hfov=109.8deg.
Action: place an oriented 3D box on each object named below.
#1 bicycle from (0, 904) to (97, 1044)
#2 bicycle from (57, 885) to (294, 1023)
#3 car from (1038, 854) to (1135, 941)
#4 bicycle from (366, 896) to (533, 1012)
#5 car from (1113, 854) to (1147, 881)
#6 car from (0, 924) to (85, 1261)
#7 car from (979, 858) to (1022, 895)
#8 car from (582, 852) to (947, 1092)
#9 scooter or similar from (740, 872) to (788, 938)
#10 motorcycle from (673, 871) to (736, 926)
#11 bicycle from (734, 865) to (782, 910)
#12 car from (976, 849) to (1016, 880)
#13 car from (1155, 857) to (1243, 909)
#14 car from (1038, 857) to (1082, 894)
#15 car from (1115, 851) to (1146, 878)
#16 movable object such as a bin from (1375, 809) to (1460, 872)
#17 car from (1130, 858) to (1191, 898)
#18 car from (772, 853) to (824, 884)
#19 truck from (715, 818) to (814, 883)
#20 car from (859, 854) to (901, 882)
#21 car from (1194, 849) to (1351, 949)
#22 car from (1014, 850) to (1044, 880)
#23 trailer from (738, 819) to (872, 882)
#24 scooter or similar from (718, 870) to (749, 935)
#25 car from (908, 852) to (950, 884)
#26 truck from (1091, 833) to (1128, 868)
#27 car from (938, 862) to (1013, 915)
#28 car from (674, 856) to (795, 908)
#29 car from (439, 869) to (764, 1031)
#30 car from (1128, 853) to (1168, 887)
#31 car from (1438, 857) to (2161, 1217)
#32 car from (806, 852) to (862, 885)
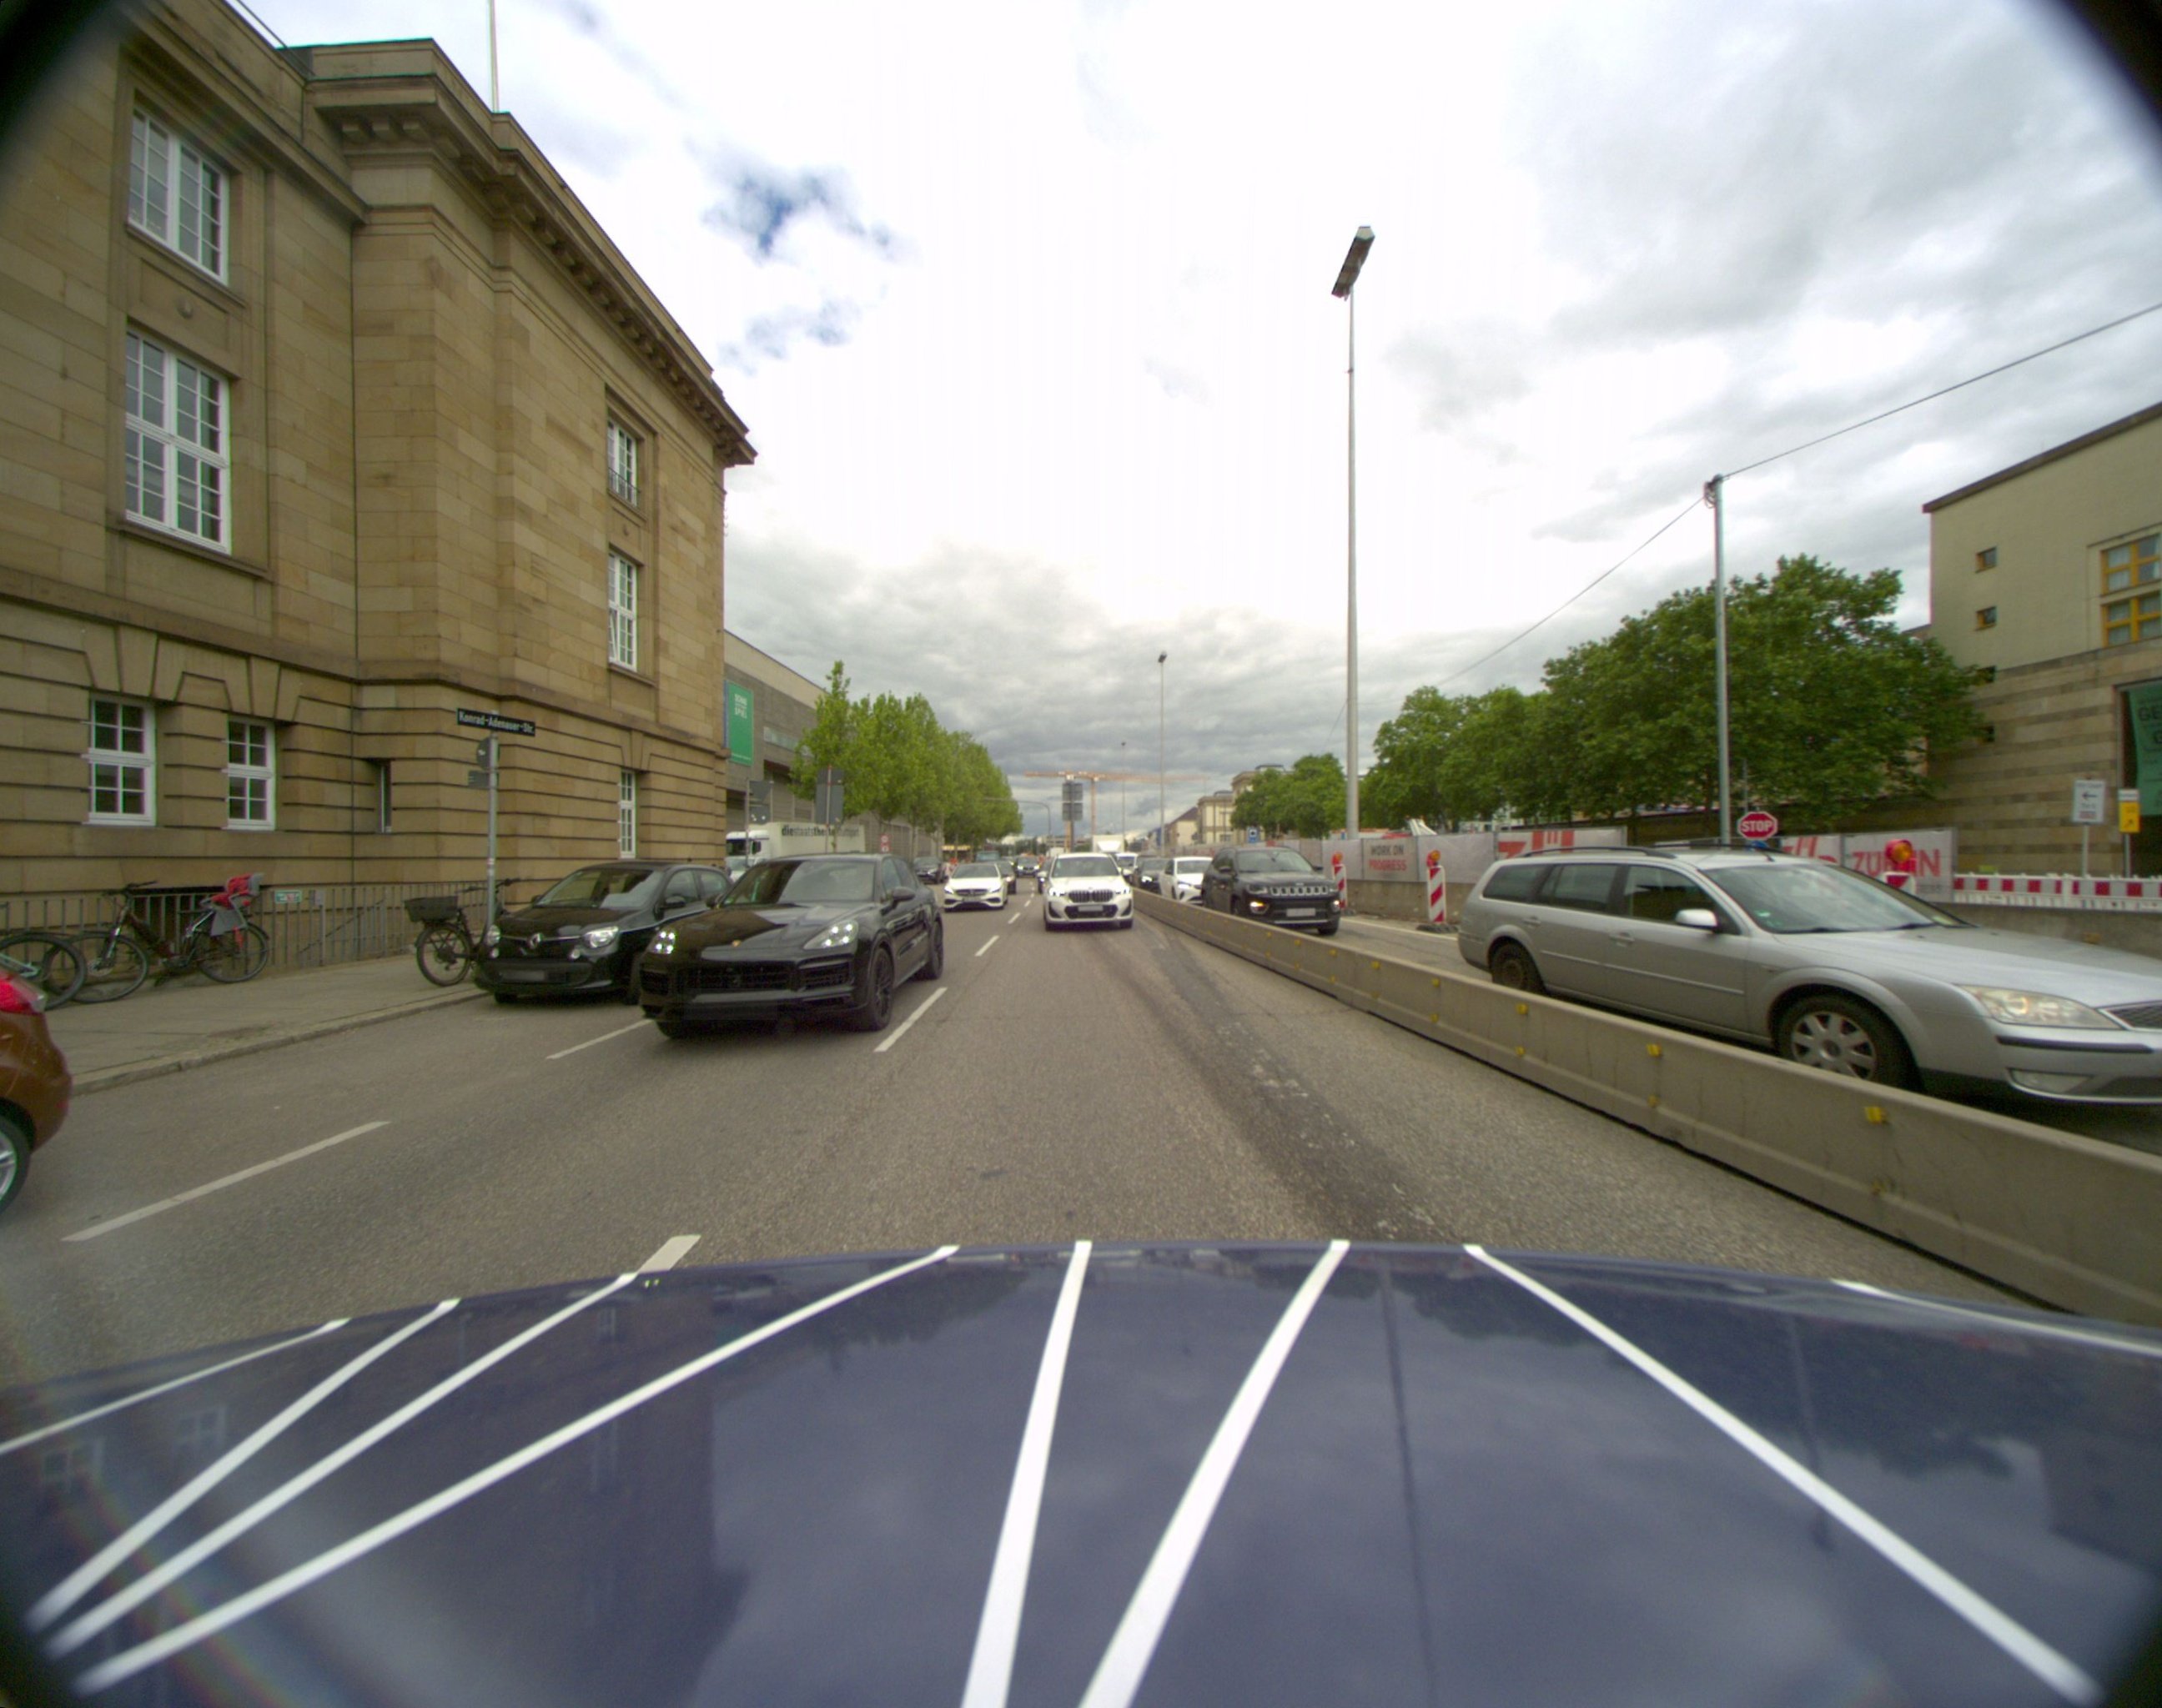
[{"bbox_3d":[-9.979,1.107,6.508,0.557,1.210,1.916,-1,0,1],"label":"bicycle"},{"bbox_3d":[-9.834,1.021,8.368,0.413,1.280,1.790,-1,0,1],"label":"bicycle"},{"bbox_3d":[-0.026,0.853,17.438,1.856,1.618,4.904,-2,1,-4],"label":"car"},{"bbox_3d":[-7.505,1.131,9.157,0.461,1.150,1.831,-1,0,0],"label":"bicycle"},{"bbox_3d":[2.845,0.775,44.605,1.652,1.430,3.934,-2,0,-1],"label":"car"},{"bbox_3d":[-5.561,1.064,1.674,1.619,1.447,3.858,0,0,1],"label":"car"},{"bbox_3d":[-3.545,0.961,33.897,1.612,1.464,3.621,-1,0,-2],"label":"car"},{"bbox_3d":[-2.775,0.900,7.892,1.908,1.648,4.200,-4,1,0],"label":"car"},{"bbox_3d":[-6.536,1.030,15.719,0.380,1.254,1.403,-1,0,1],"label":"scooter or similar"},{"bbox_3d":[-9.181,1.057,18.618,0.456,1.235,1.923,0,0,4],"label":"motorcycle"},{"bbox_3d":[-9.448,0.950,22.296,0.610,1.217,1.962,2,0,-2],"label":"bicycle"},{"bbox_3d":[-5.404,0.639,49.038,1.952,1.914,4.399,-1,0,1],"label":"car"},{"bbox_3d":[3.368,0.797,22.394,1.731,1.288,3.933,-2,1,-4],"label":"car"},{"bbox_3d":[-0.901,0.909,33.616,1.802,1.429,4.019,-2,0,-1],"label":"car"},{"bbox_3d":[3.441,0.704,53.477,1.842,1.751,4.479,0,0,-1],"label":"car"},{"bbox_3d":[12.327,-0.479,28.049,1.526,2.172,3.292,-1,0,-3],"label":"movable object such as a bin"},{"bbox_3d":[3.162,0.911,30.914,1.859,1.407,4.564,-2,0,-1],"label":"car"},{"bbox_3d":[-16.924,0.837,45.609,1.719,1.679,3.760,-2,0,-1],"label":"car"},{"bbox_3d":[-21.186,-0.248,51.313,3.138,4.061,6.576,-2,1,8],"label":"truck"},{"bbox_3d":[-11.993,0.804,45.408,1.584,1.521,3.503,-2,0,-1],"label":"car"},{"bbox_3d":[3.518,0.747,14.770,1.781,1.611,4.044,-2,1,-4],"label":"car"},{"bbox_3d":[-3.809,0.785,55.189,1.999,2.002,3.998,-2,0,-5],"label":"car"},{"bbox_3d":[-20.324,-0.352,57.660,3.154,4.077,13.978,-3,1,8],"label":"trailer"},{"bbox_3d":[-7.261,0.988,15.899,0.453,1.246,1.366,-1,2,-19],"label":"scooter or similar"},{"bbox_3d":[-8.802,0.791,44.356,1.810,1.728,4.484,-2,0,-4],"label":"car"},{"bbox_3d":[2.356,-0.291,64.923,2.978,2.757,7.255,0,0,1],"label":"truck"},{"bbox_3d":[-3.183,0.998,23.646,1.935,1.368,3.998,-2,0,-3],"label":"car"},{"bbox_3d":[-10.999,0.828,24.507,1.782,1.460,4.575,-2,0,0],"label":"car"},{"bbox_3d":[-5.553,0.990,9.425,1.549,1.543,3.709,0,0,3],"label":"car"},{"bbox_3d":[3.277,0.753,37.559,1.634,1.546,3.001,-2,0,-1],"label":"car"},{"bbox_3d":[4.946,0.806,5.728,1.884,1.472,4.701,-2,0,-6],"label":"car"},{"bbox_3d":[-14.714,0.801,45.498,1.810,1.773,4.620,-4,0,-1],"label":"car"}]
